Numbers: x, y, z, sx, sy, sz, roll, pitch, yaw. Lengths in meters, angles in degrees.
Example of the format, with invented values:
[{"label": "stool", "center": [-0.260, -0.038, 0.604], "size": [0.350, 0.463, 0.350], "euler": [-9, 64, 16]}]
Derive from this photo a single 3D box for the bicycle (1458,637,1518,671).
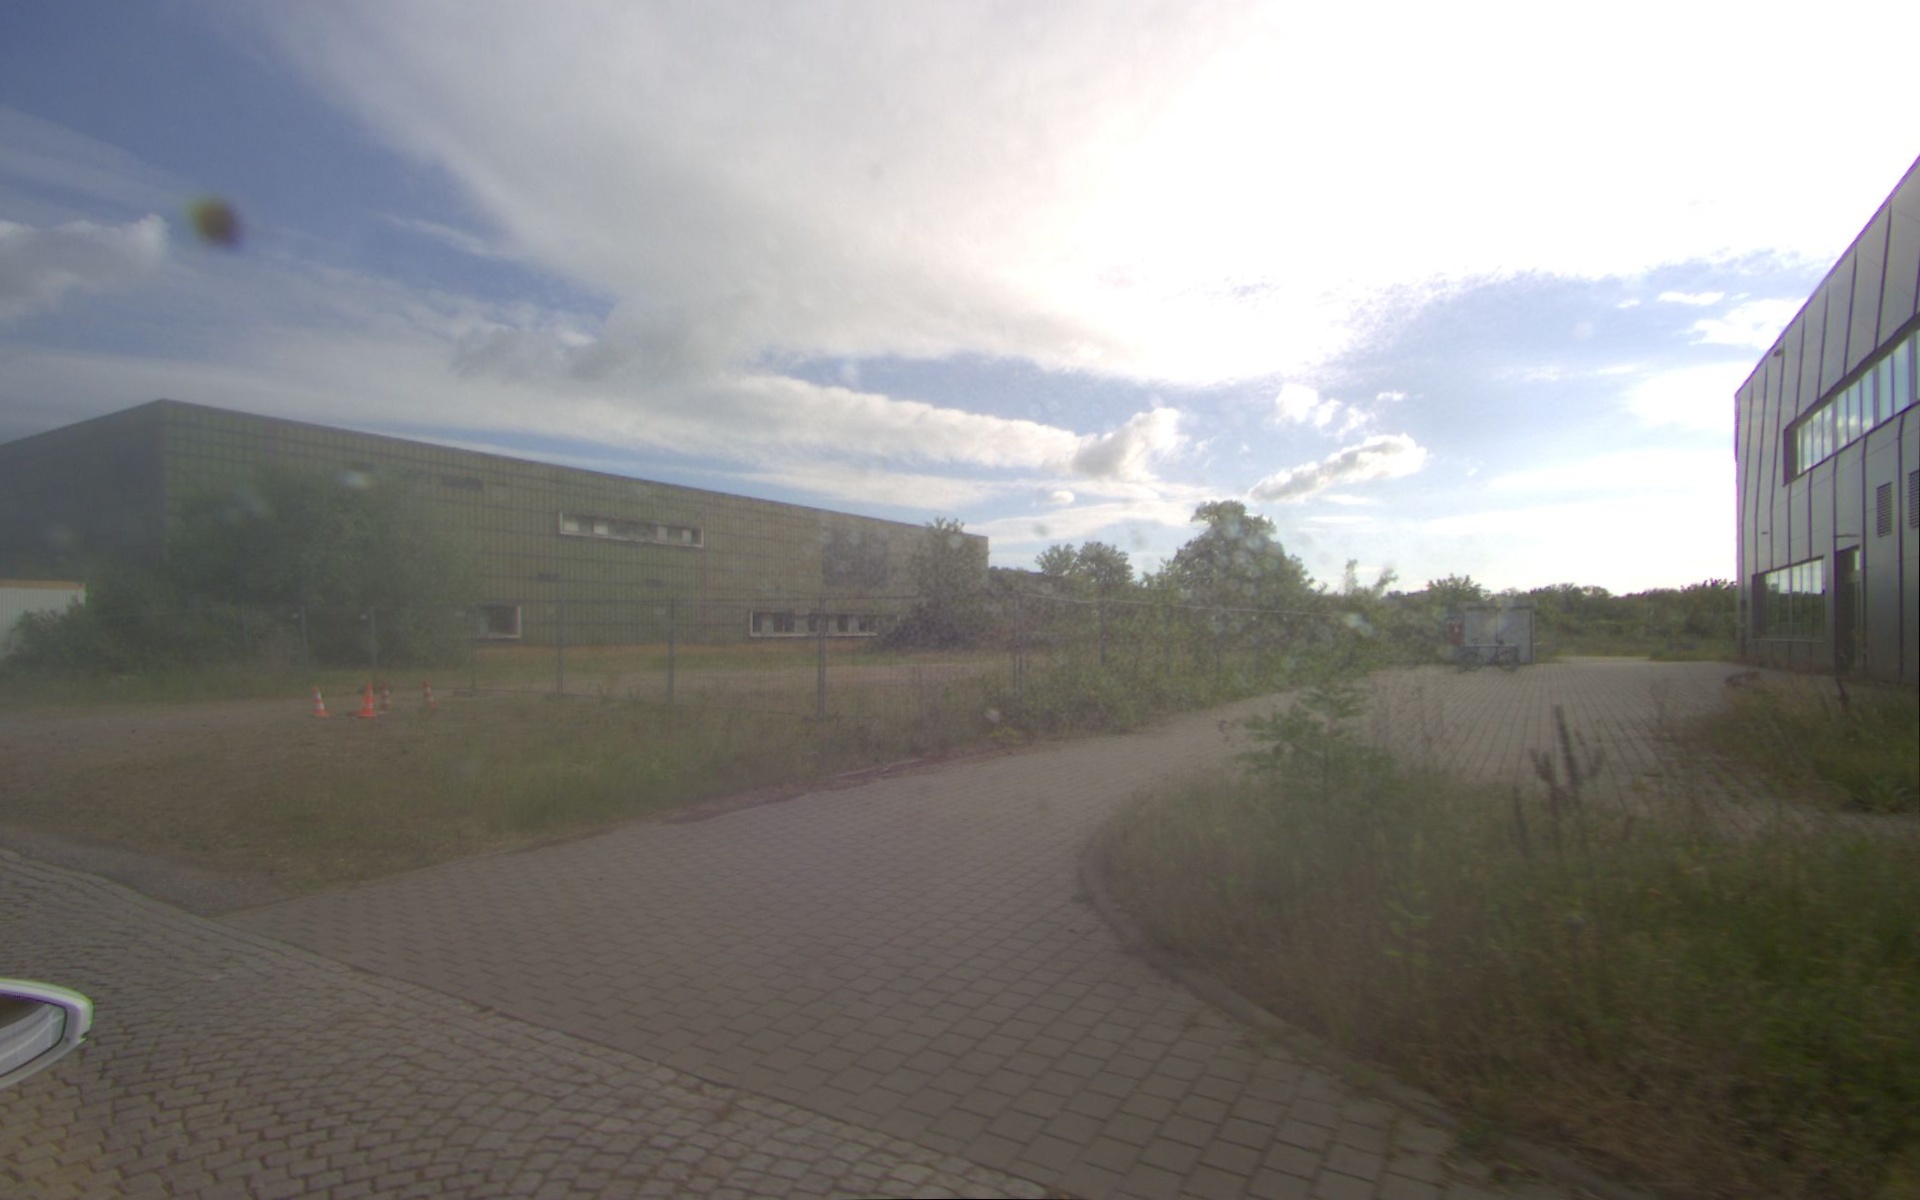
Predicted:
[{"label": "bicycle", "center": [17.741, 1.804, 33.640], "size": [1.739, 1.112, 0.520], "euler": [-1, -3, 32]}]
